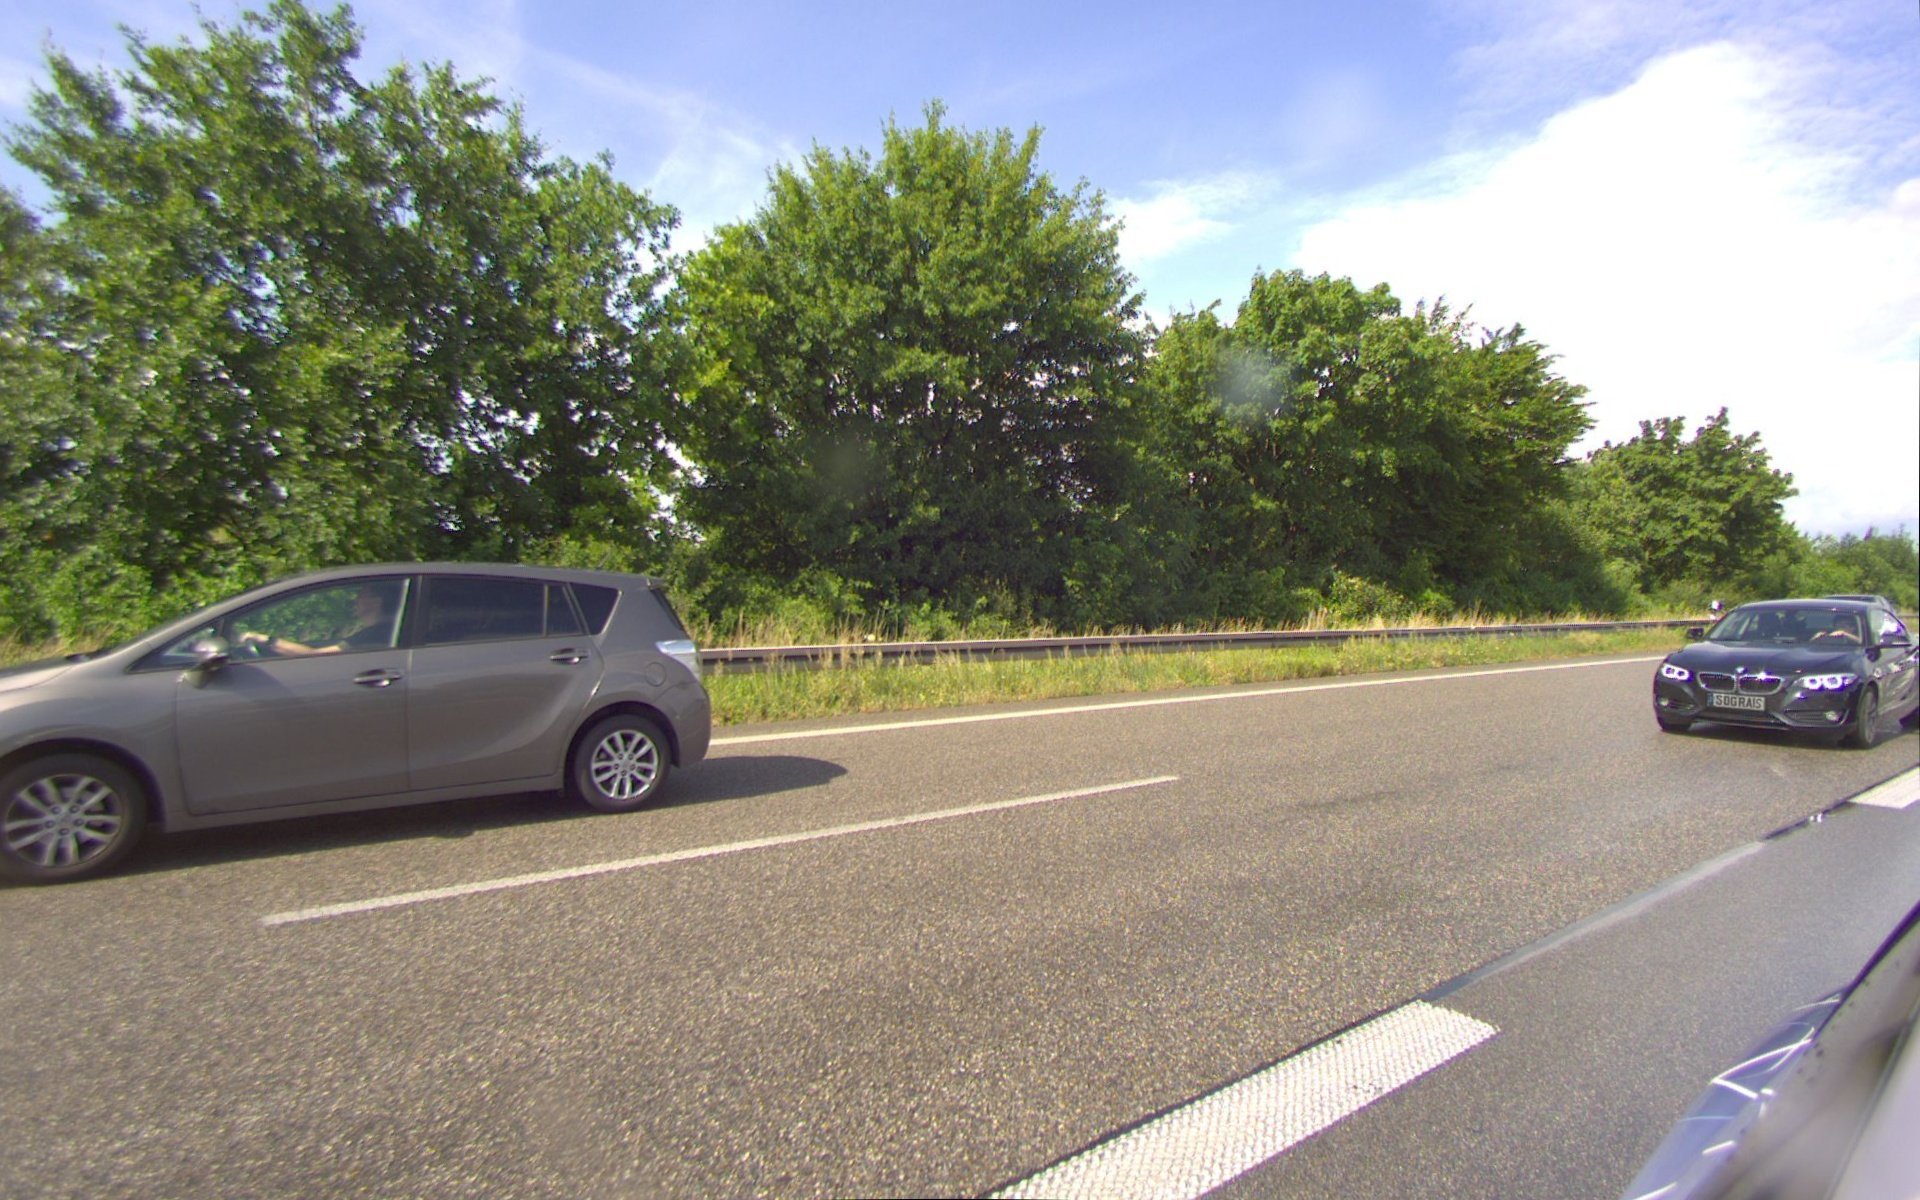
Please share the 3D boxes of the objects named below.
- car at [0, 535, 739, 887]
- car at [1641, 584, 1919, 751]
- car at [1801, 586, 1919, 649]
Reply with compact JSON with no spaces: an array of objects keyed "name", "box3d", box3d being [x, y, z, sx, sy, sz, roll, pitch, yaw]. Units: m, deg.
[{"name":"car","box3d":[-3.763,0.495,6.348,4.304,1.633,1.793,0,1,-37]},{"name":"car","box3d":[9.366,0.574,11.158,4.177,1.482,1.853,-1,2,-38]},{"name":"car","box3d":[24.897,0.425,27.855,3.927,1.588,1.854,-1,2,-38]}]
